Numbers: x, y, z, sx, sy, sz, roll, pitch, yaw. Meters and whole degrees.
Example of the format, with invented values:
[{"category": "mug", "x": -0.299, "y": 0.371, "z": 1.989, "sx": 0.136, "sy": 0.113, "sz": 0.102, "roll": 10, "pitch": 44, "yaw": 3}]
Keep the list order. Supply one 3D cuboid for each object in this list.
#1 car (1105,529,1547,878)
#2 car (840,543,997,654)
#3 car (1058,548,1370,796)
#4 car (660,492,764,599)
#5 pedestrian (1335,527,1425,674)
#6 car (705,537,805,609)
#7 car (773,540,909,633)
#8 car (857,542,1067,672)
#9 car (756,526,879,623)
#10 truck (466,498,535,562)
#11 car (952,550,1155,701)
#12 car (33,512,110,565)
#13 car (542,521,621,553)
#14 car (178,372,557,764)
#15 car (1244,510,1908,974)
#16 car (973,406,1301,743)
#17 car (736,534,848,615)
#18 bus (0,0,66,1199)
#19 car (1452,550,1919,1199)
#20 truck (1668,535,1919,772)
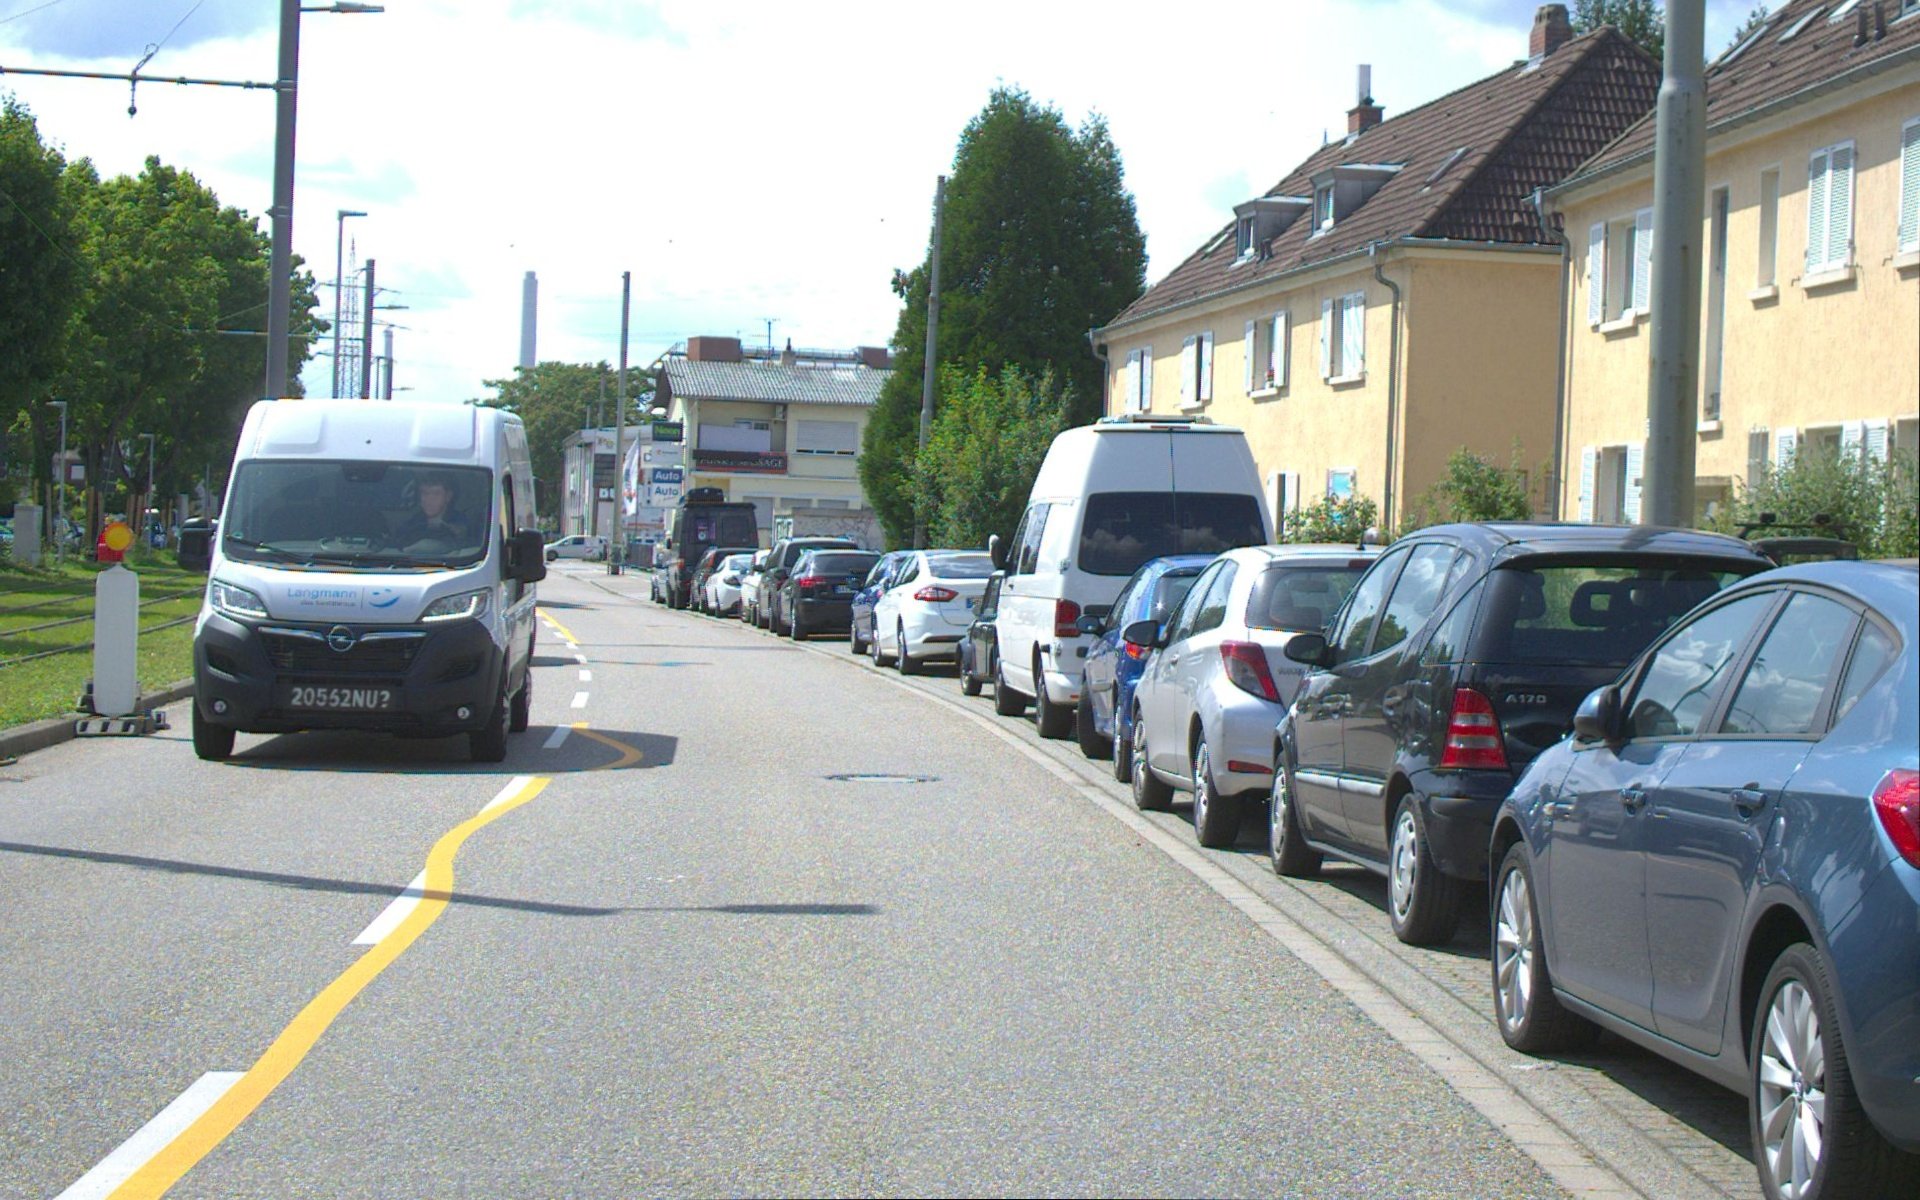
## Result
[{"category": "car", "x": 1.829, "y": 0.453, "z": 18.368, "sx": 1.636, "sy": 1.597, "sz": 4.030, "roll": 2, "pitch": 1, "yaw": -3}, {"category": "car", "x": -0.603, "y": -0.050, "z": 46.545, "sx": 1.620, "sy": 1.412, "sz": 4.001, "roll": 0, "pitch": 1, "yaw": -8}, {"category": "car", "x": 1.615, "y": 0.417, "z": 22.999, "sx": 1.536, "sy": 1.440, "sz": 3.738, "roll": 2, "pitch": 1, "yaw": -3}, {"category": "car", "x": -6.005, "y": -1.329, "z": 82.599, "sx": 1.959, "sy": 2.470, "sz": 6.062, "roll": 0, "pitch": 1, "yaw": -9}, {"category": "pedestrian", "x": 4.813, "y": 0.000, "z": 39.412, "sx": 0.853, "sy": 1.646, "sz": 0.637, "roll": 3, "pitch": 1, "yaw": -3}, {"category": "car", "x": -4.289, "y": -0.588, "z": 71.458, "sx": 1.763, "sy": 1.435, "sz": 4.001, "roll": 0, "pitch": 1, "yaw": -8}, {"category": "car", "x": -1.954, "y": -0.246, "z": 55.342, "sx": 1.763, "sy": 1.412, "sz": 4.001, "roll": 0, "pitch": 1, "yaw": -8}, {"category": "car", "x": -0.043, "y": 0.058, "z": 41.025, "sx": 1.798, "sy": 1.453, "sz": 4.766, "roll": 0, "pitch": 0, "yaw": -9}, {"category": "car", "x": -2.541, "y": -0.476, "z": 60.443, "sx": 1.763, "sy": 1.637, "sz": 4.001, "roll": 0, "pitch": 1, "yaw": -8}, {"category": "truck", "x": -25.651, "y": -3.862, "z": 191.581, "sx": 3.220, "sy": 3.390, "sz": 11.357, "roll": 2, "pitch": 1, "yaw": -10}, {"category": "car", "x": 0.857, "y": 0.223, "z": 33.226, "sx": 1.341, "sy": 1.336, "sz": 3.289, "roll": 2, "pitch": 0, "yaw": -9}, {"category": "car", "x": -27.979, "y": -1.931, "z": 108.342, "sx": 1.878, "sy": 1.547, "sz": 4.399, "roll": 2, "pitch": 0, "yaw": -9}, {"category": "car", "x": -23.355, "y": -3.878, "z": 212.108, "sx": 4.640, "sy": 1.816, "sz": 1.836, "roll": 2, "pitch": 1, "yaw": -13}, {"category": "car", "x": -4.129, "y": -0.246, "z": 24.866, "sx": 2.102, "sy": 2.435, "sz": 5.572, "roll": 2, "pitch": 1, "yaw": -4}, {"category": "car", "x": 2.360, "y": 0.468, "z": 14.202, "sx": 1.636, "sy": 1.597, "sz": 3.932, "roll": 2, "pitch": 1, "yaw": -5}, {"category": "car", "x": 1.333, "y": -0.233, "z": 28.349, "sx": 1.929, "sy": 2.472, "sz": 5.519, "roll": 1, "pitch": 1, "yaw": -5}, {"category": "car", "x": -3.225, "y": -0.506, "z": 65.312, "sx": 1.763, "sy": 1.471, "sz": 4.001, "roll": 0, "pitch": 1, "yaw": -8}, {"category": "bus", "x": -3.046, "y": -0.263, "z": 1.278, "sx": 2.636, "sy": 3.401, "sz": 12.250, "roll": 1, "pitch": 1, "yaw": -2}, {"category": "car", "x": 2.494, "y": 0.659, "z": 8.633, "sx": 1.636, "sy": 1.477, "sz": 4.125, "roll": 2, "pitch": 1, "yaw": -3}, {"category": "truck", "x": 6.404, "y": 0.380, "z": 26.132, "sx": 1.346, "sy": 1.683, "sz": 2.441, "roll": 2, "pitch": 0, "yaw": -4}]
